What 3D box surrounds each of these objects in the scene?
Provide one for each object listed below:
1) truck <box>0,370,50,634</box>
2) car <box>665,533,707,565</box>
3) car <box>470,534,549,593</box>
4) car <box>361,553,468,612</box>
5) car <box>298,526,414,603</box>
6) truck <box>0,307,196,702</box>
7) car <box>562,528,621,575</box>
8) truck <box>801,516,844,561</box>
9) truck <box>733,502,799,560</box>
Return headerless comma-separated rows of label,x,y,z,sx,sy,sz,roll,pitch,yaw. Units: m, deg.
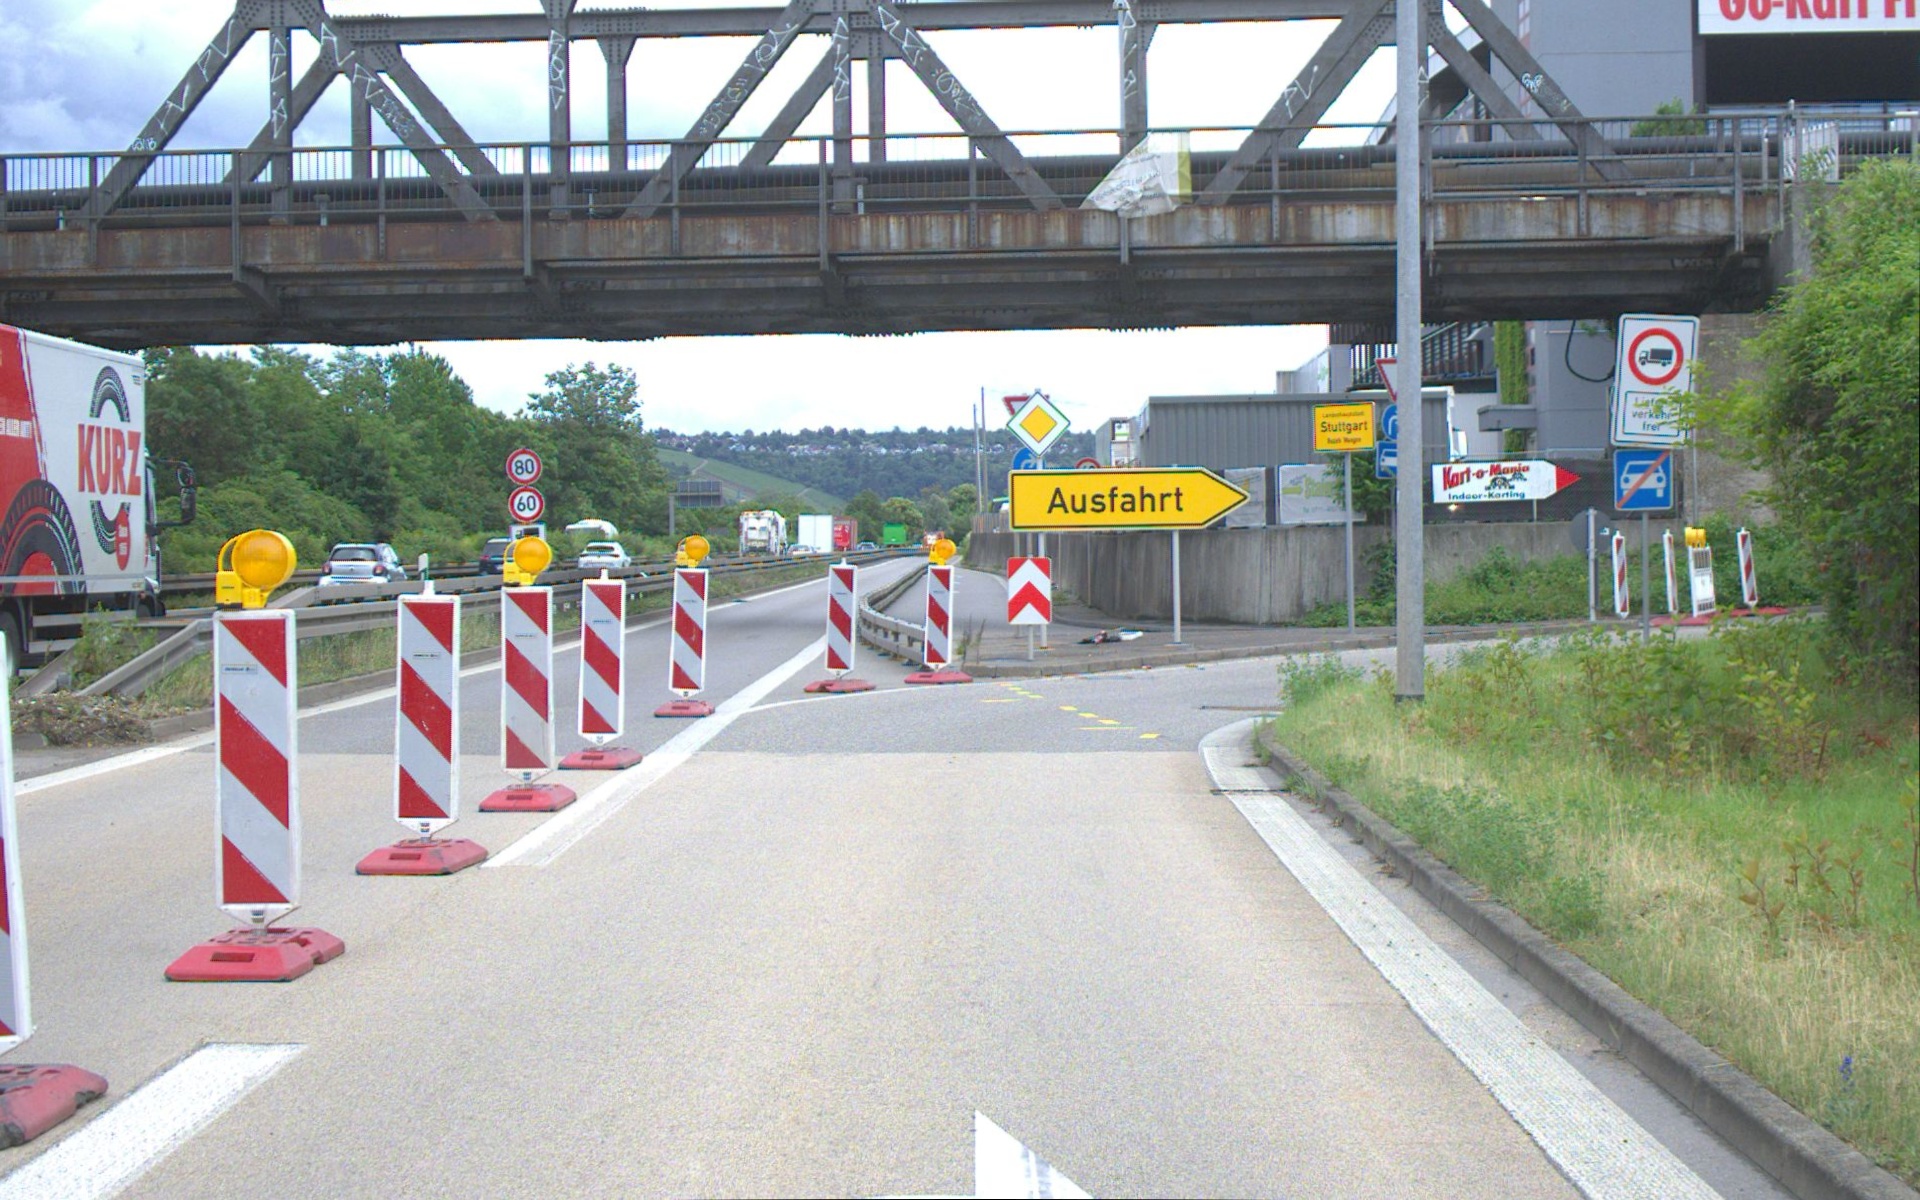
truck,-14.294,-1.276,45.005,2.994,3.544,7.741,-1,1,-3
car,-13.878,-2.607,174.460,1.779,1.590,3.750,0,1,1
car,-14.004,-1.145,107.066,1.993,1.753,4.000,-1,1,-1
car,-13.783,-0.452,87.162,1.973,1.409,4.600,-1,1,0
car,-14.308,-0.845,81.621,1.993,1.753,4.000,-1,1,0
truck,-10.273,-0.912,34.623,2.953,3.617,10.155,0,1,0
car,-14.348,-1.887,133.914,1.993,1.809,4.001,0,1,-2
truck,-9.595,-4.289,240.815,2.681,3.129,6.132,1,1,1
truck,-12.416,-4.426,220.631,3.720,3.633,7.728,0,1,1
